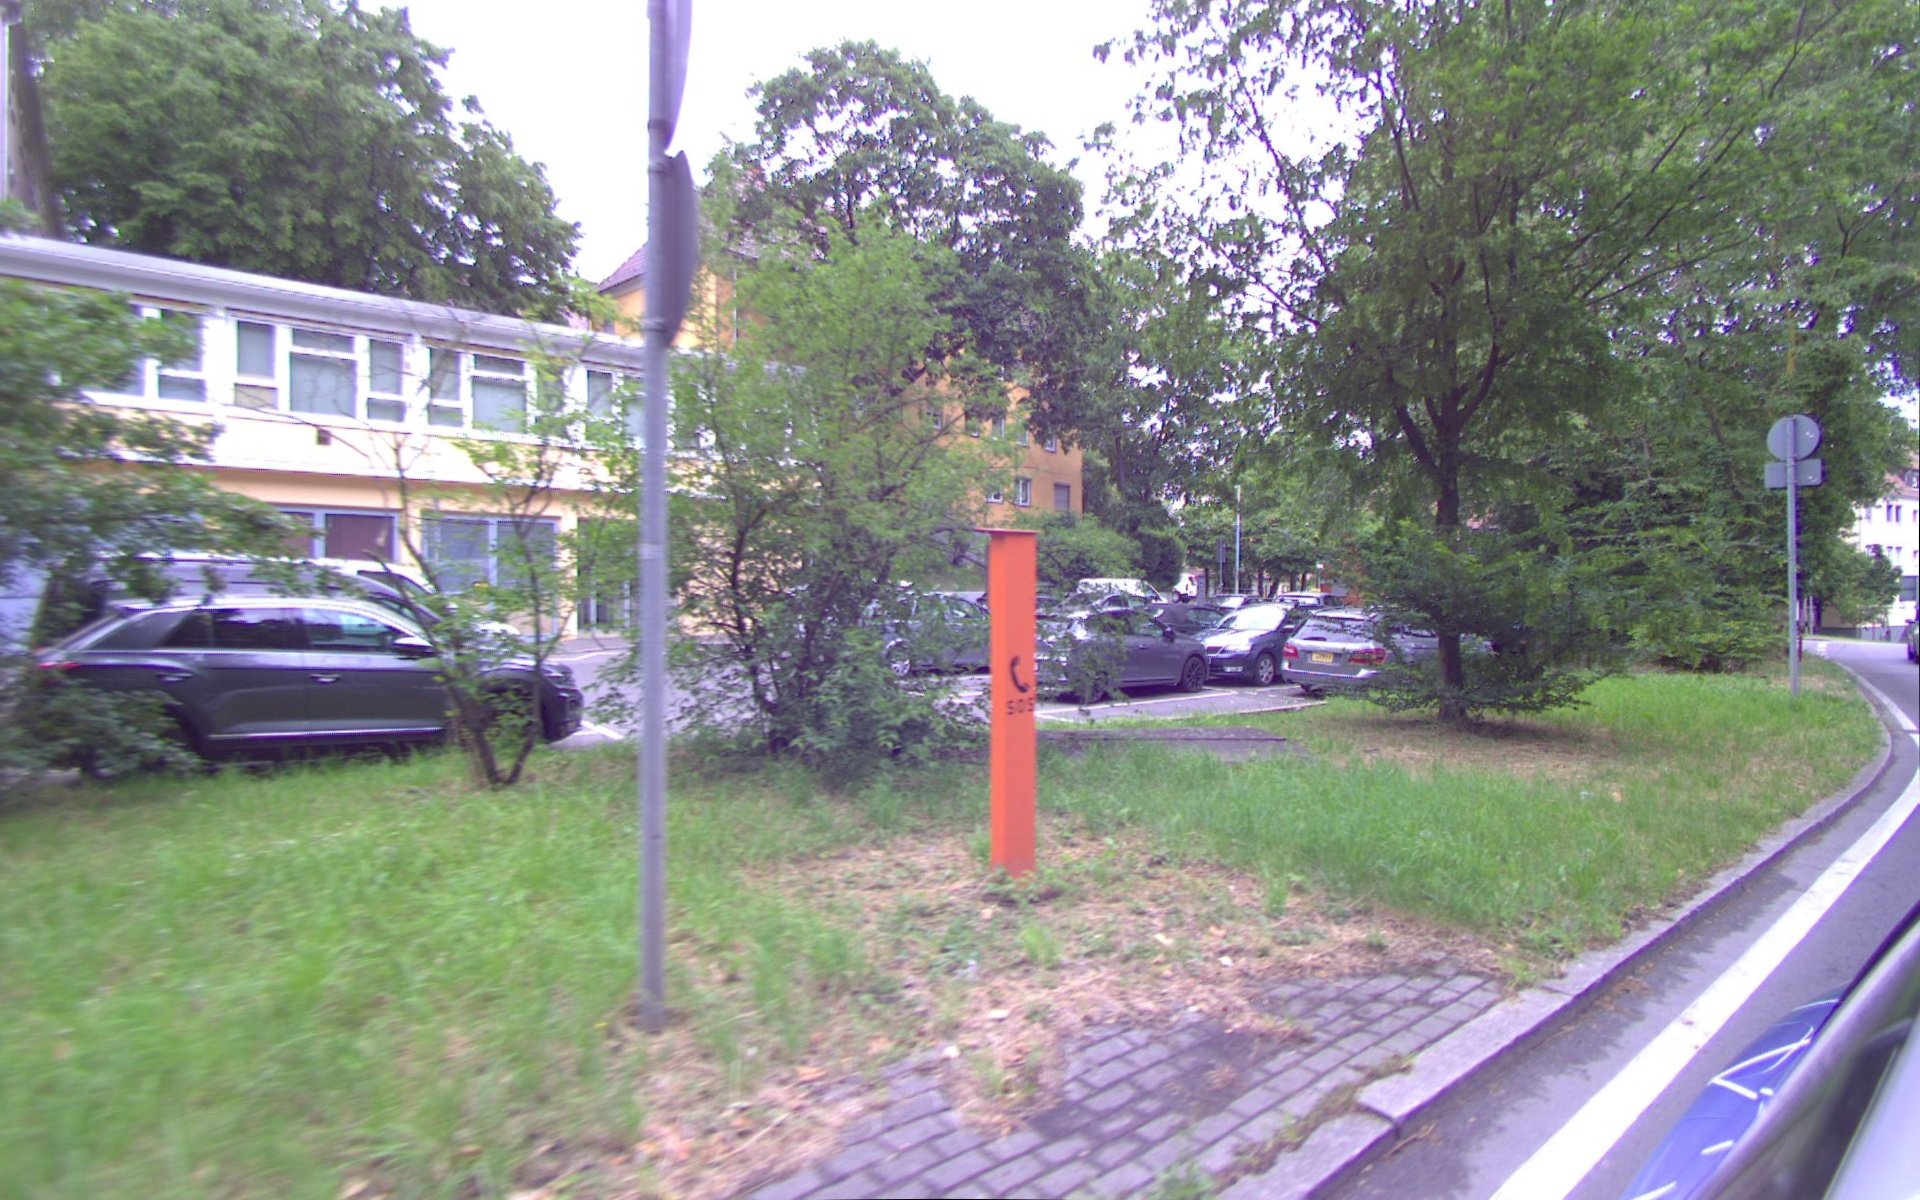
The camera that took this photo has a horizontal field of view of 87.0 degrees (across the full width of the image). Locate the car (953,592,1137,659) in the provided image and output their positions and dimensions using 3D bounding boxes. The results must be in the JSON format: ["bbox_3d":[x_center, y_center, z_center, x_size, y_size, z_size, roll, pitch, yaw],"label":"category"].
[{"bbox_3d":[2.104,0.573,24.415,4.322,1.464,1.790,1,0,-36],"label":"car"}]

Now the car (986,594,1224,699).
[{"bbox_3d":[2.419,0.660,16.430,3.830,1.460,1.747,-1,1,-40],"label":"car"}]

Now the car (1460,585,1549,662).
[{"bbox_3d":[14.091,0.512,26.048,1.800,1.685,4.832,2,2,30],"label":"car"}]

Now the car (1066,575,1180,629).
[{"bbox_3d":[6.234,0.028,38.384,4.525,1.909,1.995,-1,2,-45],"label":"car"}]

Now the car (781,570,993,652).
[{"bbox_3d":[-1.529,0.264,21.866,4.162,1.460,1.813,5,-2,-34],"label":"car"}]

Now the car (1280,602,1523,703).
[{"bbox_3d":[7.623,0.795,17.226,4.973,1.460,1.789,1,0,-40],"label":"car"}]

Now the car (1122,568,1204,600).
[{"bbox_3d":[12.817,-1.019,64.054,4.818,1.810,1.767,-1,4,38],"label":"car"}]

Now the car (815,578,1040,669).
[{"bbox_3d":[-0.594,0.474,19.565,3.928,1.460,1.813,5,-2,-34],"label":"car"}]

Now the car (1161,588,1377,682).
[{"bbox_3d":[5.970,0.610,19.294,4.512,1.578,1.789,1,0,-40],"label":"car"}]

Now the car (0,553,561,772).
[{"bbox_3d":[-7.104,0.528,11.033,4.798,1.902,1.860,0,0,-40],"label":"car"}]

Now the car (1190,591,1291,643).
[{"bbox_3d":[8.747,0.467,31.356,1.727,1.446,4.079,3,2,35],"label":"car"}]

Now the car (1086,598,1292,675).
[{"bbox_3d":[4.811,0.689,20.916,4.512,1.396,1.789,1,0,-40],"label":"car"}]

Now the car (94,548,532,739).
[{"bbox_3d":[-8.073,0.451,12.933,4.480,2.040,1.860,0,0,-39],"label":"car"}]

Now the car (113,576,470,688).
[{"bbox_3d":[-9.796,0.399,15.053,4.248,1.444,1.800,0,0,-39],"label":"car"}]

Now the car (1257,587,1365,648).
[{"bbox_3d":[10.342,0.449,29.681,1.729,1.588,4.073,3,2,38],"label":"car"}]

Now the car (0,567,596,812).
[{"bbox_3d":[-5.858,0.610,8.771,4.790,1.686,1.816,0,2,-33],"label":"car"}]

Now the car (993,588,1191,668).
[{"bbox_3d":[2.998,0.585,22.541,4.322,1.614,1.790,1,0,-36],"label":"car"}]
